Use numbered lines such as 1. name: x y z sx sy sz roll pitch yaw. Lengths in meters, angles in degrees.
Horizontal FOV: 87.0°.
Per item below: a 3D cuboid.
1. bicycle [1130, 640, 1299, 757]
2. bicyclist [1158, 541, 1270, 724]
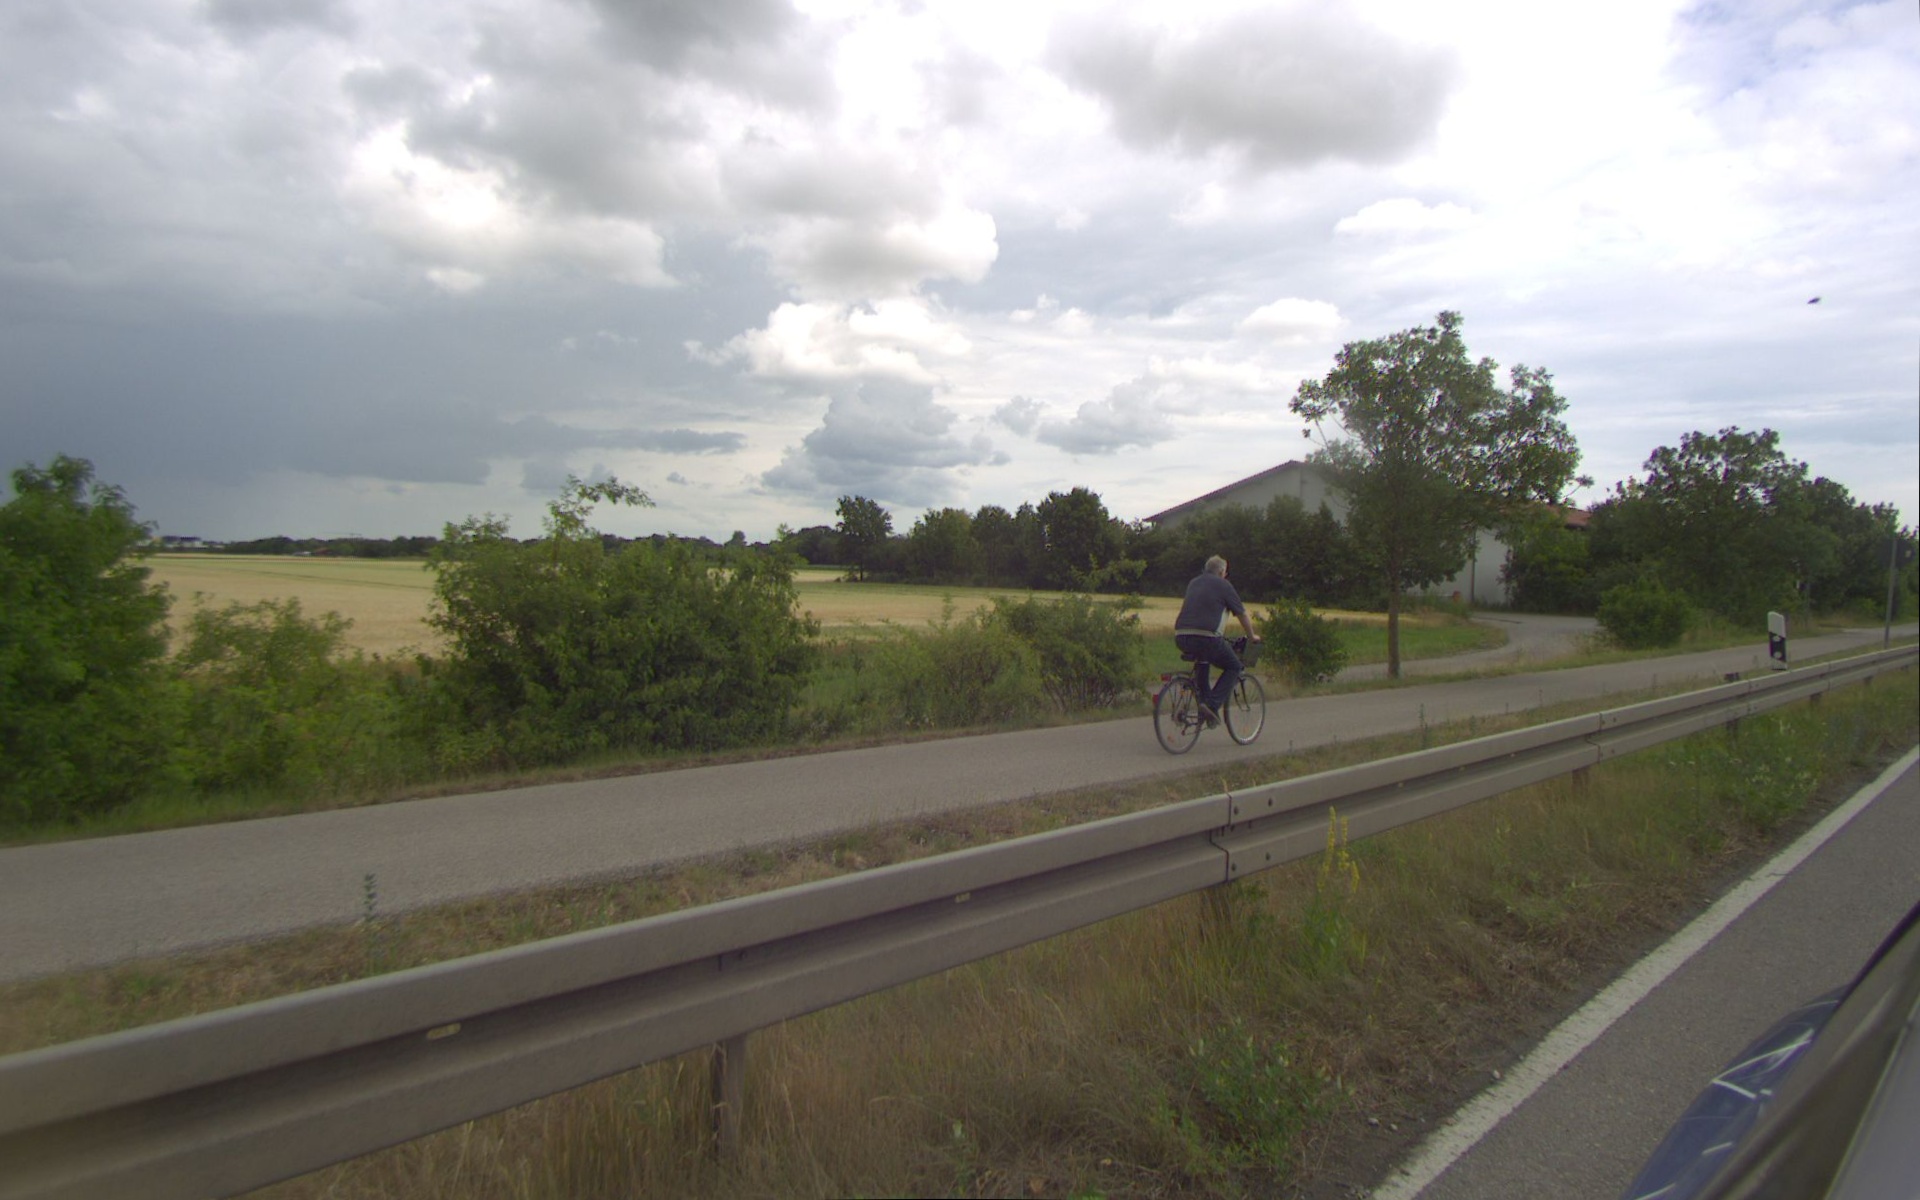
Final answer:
1. bicycle: 2.477 0.897 9.745 1.798 0.931 0.667 0 2 -41
2. bicyclist: 2.433 0.282 9.690 0.851 1.665 0.648 0 1 -41
